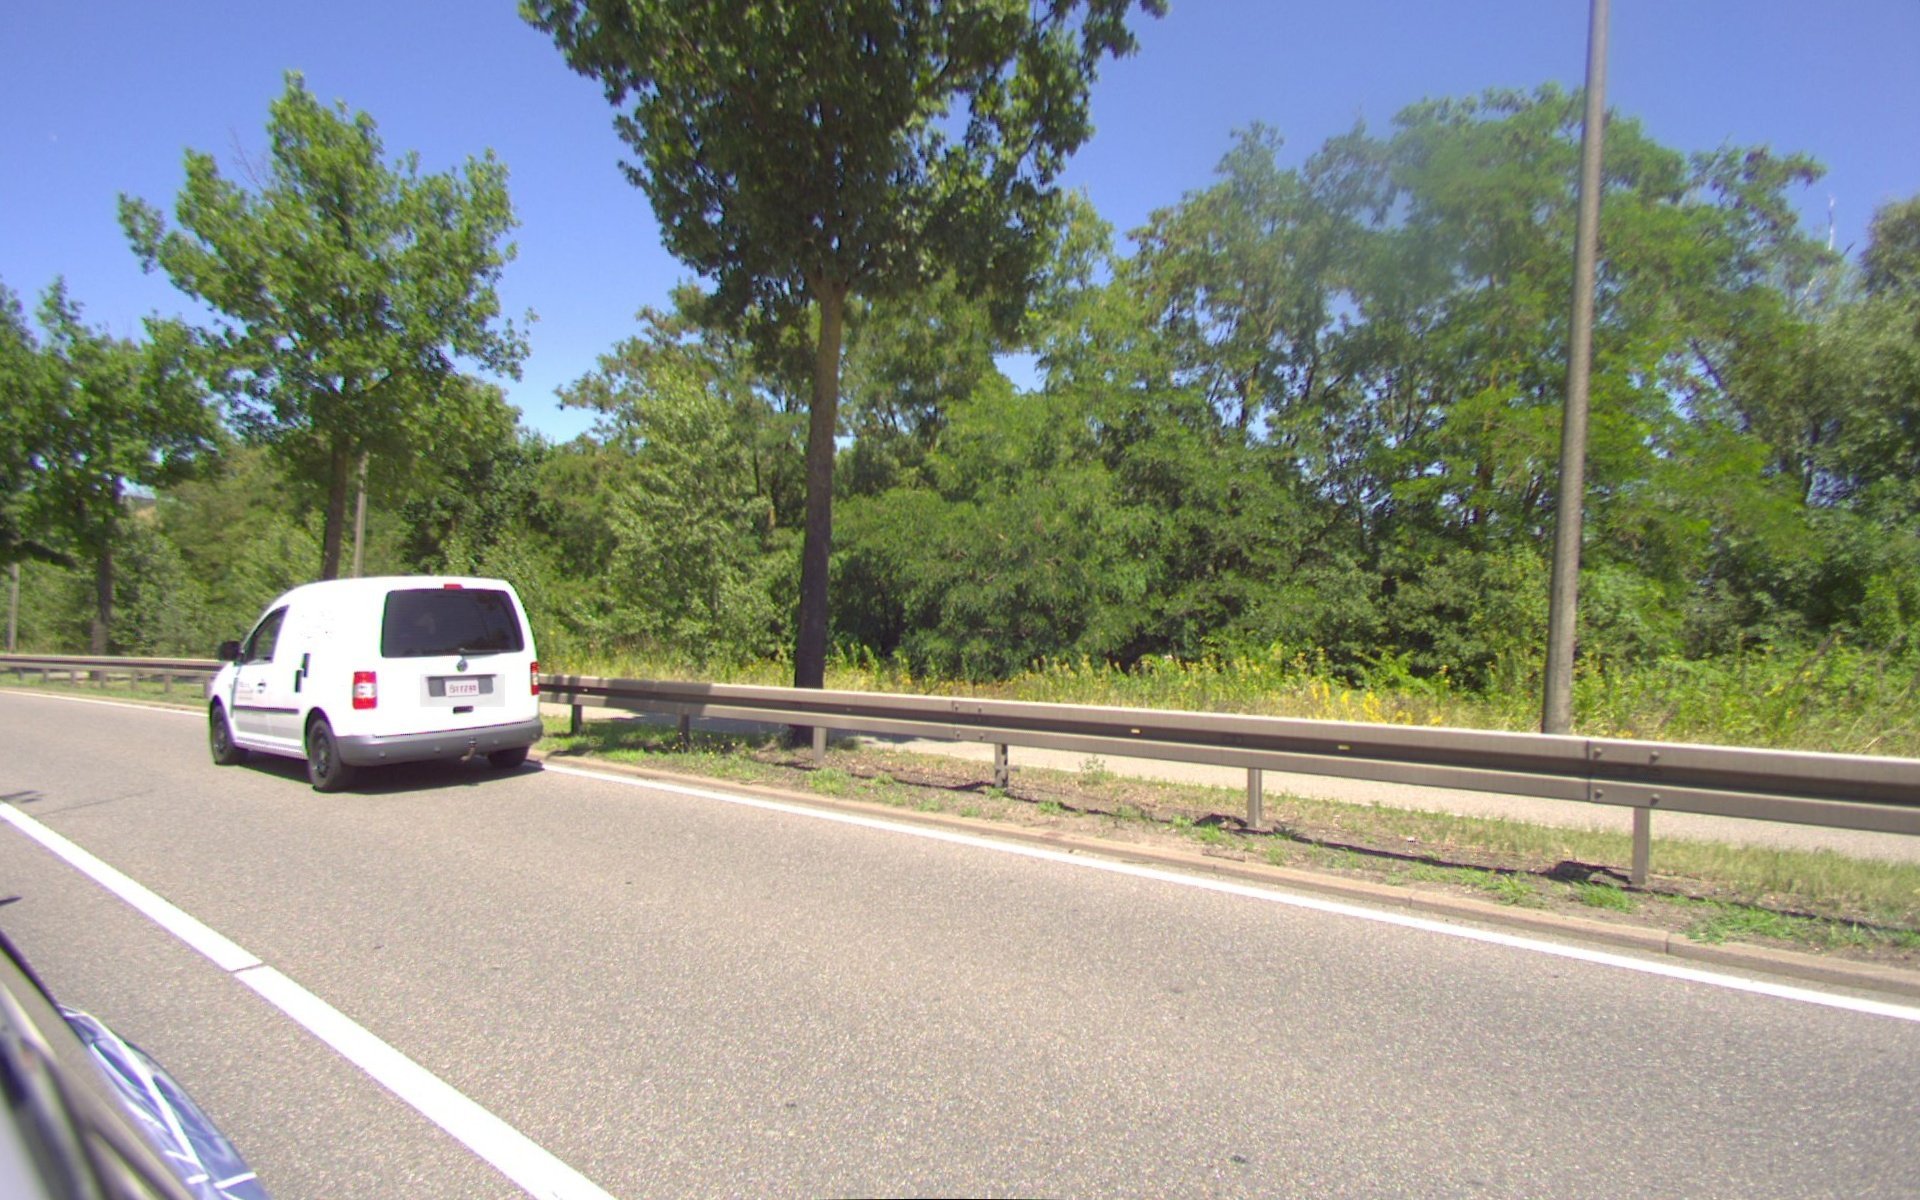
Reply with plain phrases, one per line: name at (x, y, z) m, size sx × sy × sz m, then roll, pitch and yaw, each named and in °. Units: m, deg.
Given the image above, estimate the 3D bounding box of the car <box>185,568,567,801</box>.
car at (-5.771, 0.674, 9.775) m, size 4.383 × 1.776 × 1.729 m, roll -1°, pitch 0°, yaw 39°
